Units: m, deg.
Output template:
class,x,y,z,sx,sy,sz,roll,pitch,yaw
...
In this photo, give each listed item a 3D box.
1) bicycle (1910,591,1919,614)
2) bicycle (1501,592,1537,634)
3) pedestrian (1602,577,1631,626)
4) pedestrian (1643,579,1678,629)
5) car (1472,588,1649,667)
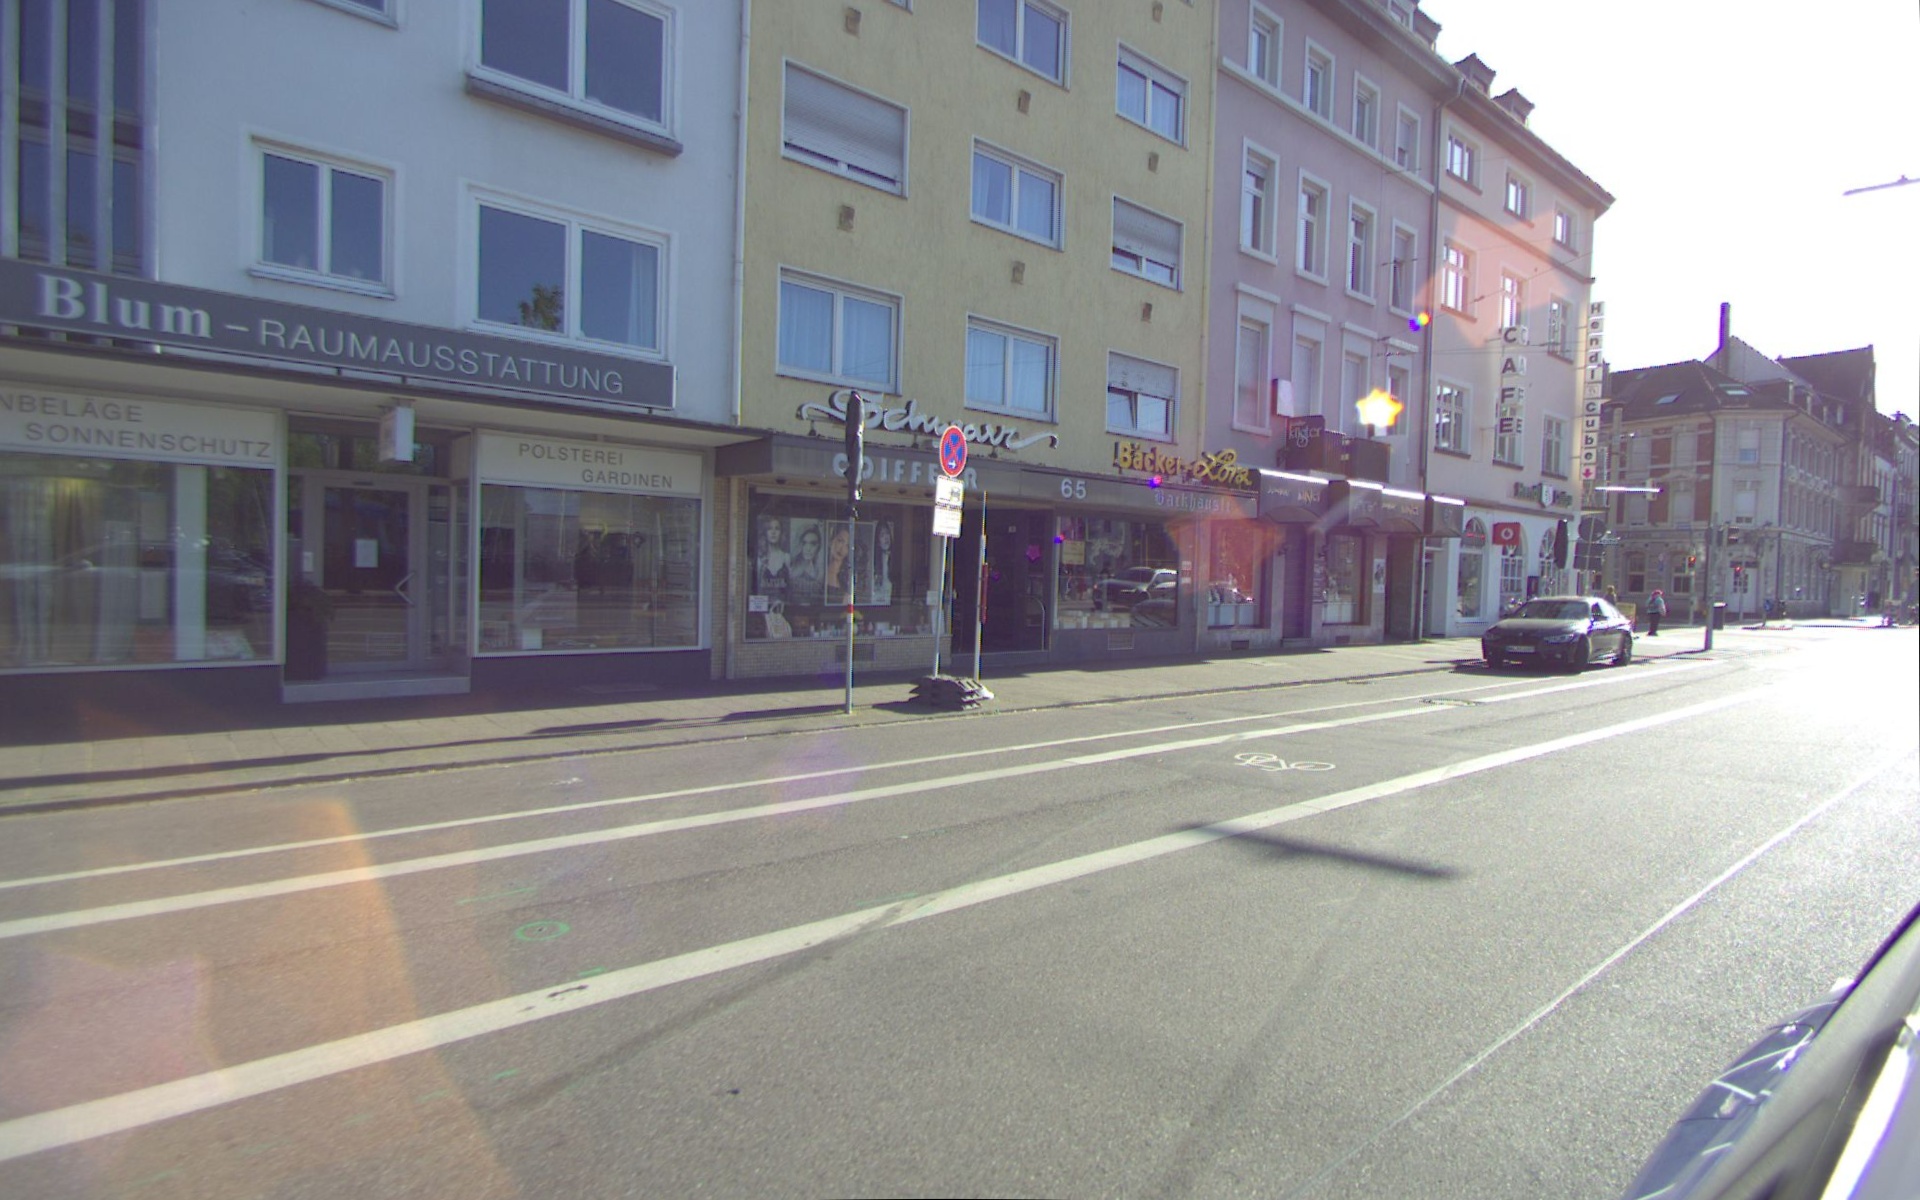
class,x,y,z,sx,sy,sz,roll,pitch,yaw
bicycle,53.424,0.144,56.062,2.255,1.230,0.693,0,2,-36
bicycle,16.015,0.356,28.961,0.692,1.122,1.842,2,2,35
pedestrian,23.548,0.042,36.290,0.665,1.711,0.663,0,2,-41
pedestrian,24.306,0.138,35.108,0.786,1.712,0.775,3,-1,-41
car,12.510,0.475,20.948,4.636,1.447,1.902,-1,1,-43
